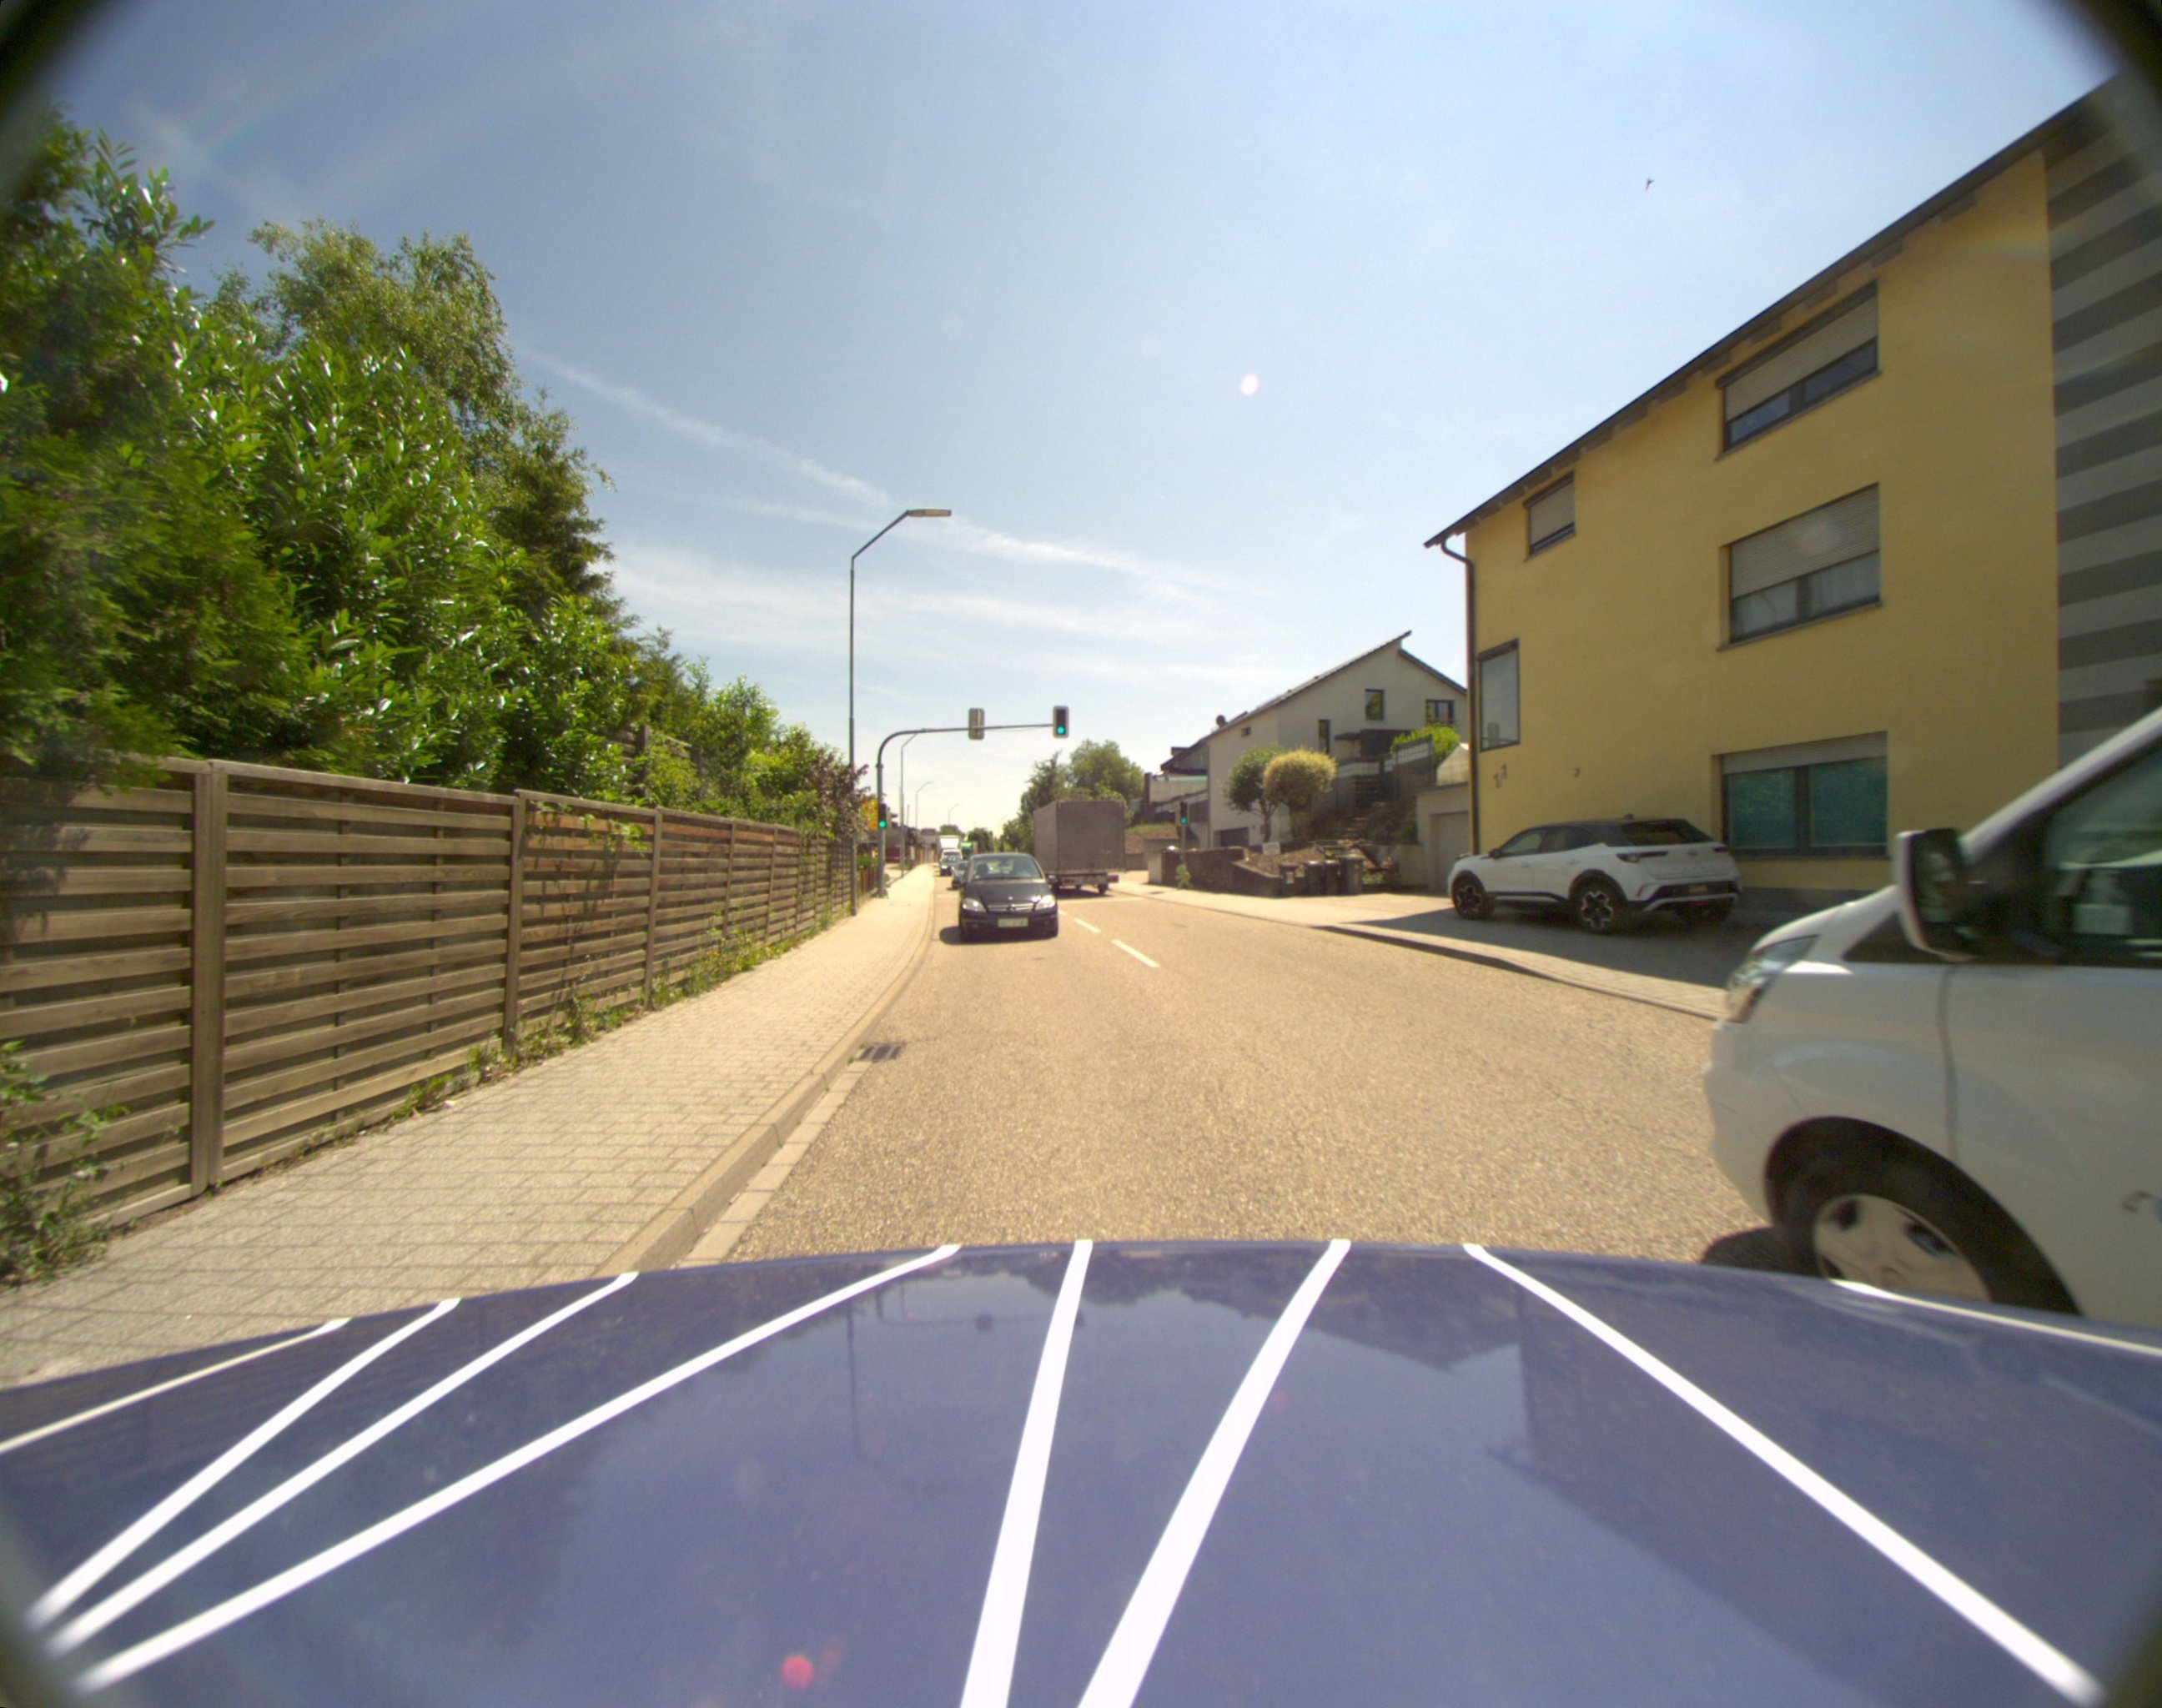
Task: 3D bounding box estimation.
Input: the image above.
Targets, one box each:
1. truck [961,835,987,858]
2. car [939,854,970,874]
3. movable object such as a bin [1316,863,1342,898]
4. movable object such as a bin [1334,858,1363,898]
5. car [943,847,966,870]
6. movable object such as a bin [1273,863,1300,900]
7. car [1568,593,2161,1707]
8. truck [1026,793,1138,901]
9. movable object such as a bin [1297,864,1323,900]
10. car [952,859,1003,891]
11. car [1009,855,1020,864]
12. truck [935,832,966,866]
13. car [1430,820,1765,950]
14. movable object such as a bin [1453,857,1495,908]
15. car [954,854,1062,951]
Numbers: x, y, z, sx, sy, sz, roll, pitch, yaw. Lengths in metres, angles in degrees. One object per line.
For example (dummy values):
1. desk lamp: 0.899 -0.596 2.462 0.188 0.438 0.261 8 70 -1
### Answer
1. truck: -16.320 -1.110 115.207 2.857 3.214 8.152 2 0 -15
2. car: -9.110 0.713 54.577 1.899 1.368 3.995 -1 0 -14
3. movable object such as a bin: 6.674 0.707 20.463 0.448 0.933 0.530 -2 1 -11
4. movable object such as a bin: 7.221 0.633 20.515 0.472 1.049 0.633 -2 1 -11
5. car: -11.097 0.377 66.969 1.869 1.897 5.033 -2 0 -8
6. movable object such as a bin: 5.473 0.732 20.236 0.502 0.942 0.553 -2 1 -11
7. car: 2.899 0.505 0.213 1.999 1.988 5.213 -3 0 -2
8. truck: -0.222 -0.248 28.304 2.475 3.348 7.608 -4 1 -12
9. movable object such as a bin: 6.142 0.750 20.393 0.448 0.923 0.561 -2 1 -11
10. car: -4.727 0.888 34.287 1.816 1.306 3.995 -1 0 -14
11. car: -12.113 0.912 137.549 1.828 1.516 3.555 -2 0 -6
12. truck: -14.830 -0.512 86.848 3.206 3.578 8.299 2 0 -9
13. car: 7.330 0.371 11.396 1.736 1.543 4.185 -2 0 -9
14. movable object such as a bin: 8.324 0.596 16.107 0.502 1.037 0.607 -2 1 -11
15. car: -1.601 0.834 15.213 1.766 1.583 4.194 -2 1 -10
